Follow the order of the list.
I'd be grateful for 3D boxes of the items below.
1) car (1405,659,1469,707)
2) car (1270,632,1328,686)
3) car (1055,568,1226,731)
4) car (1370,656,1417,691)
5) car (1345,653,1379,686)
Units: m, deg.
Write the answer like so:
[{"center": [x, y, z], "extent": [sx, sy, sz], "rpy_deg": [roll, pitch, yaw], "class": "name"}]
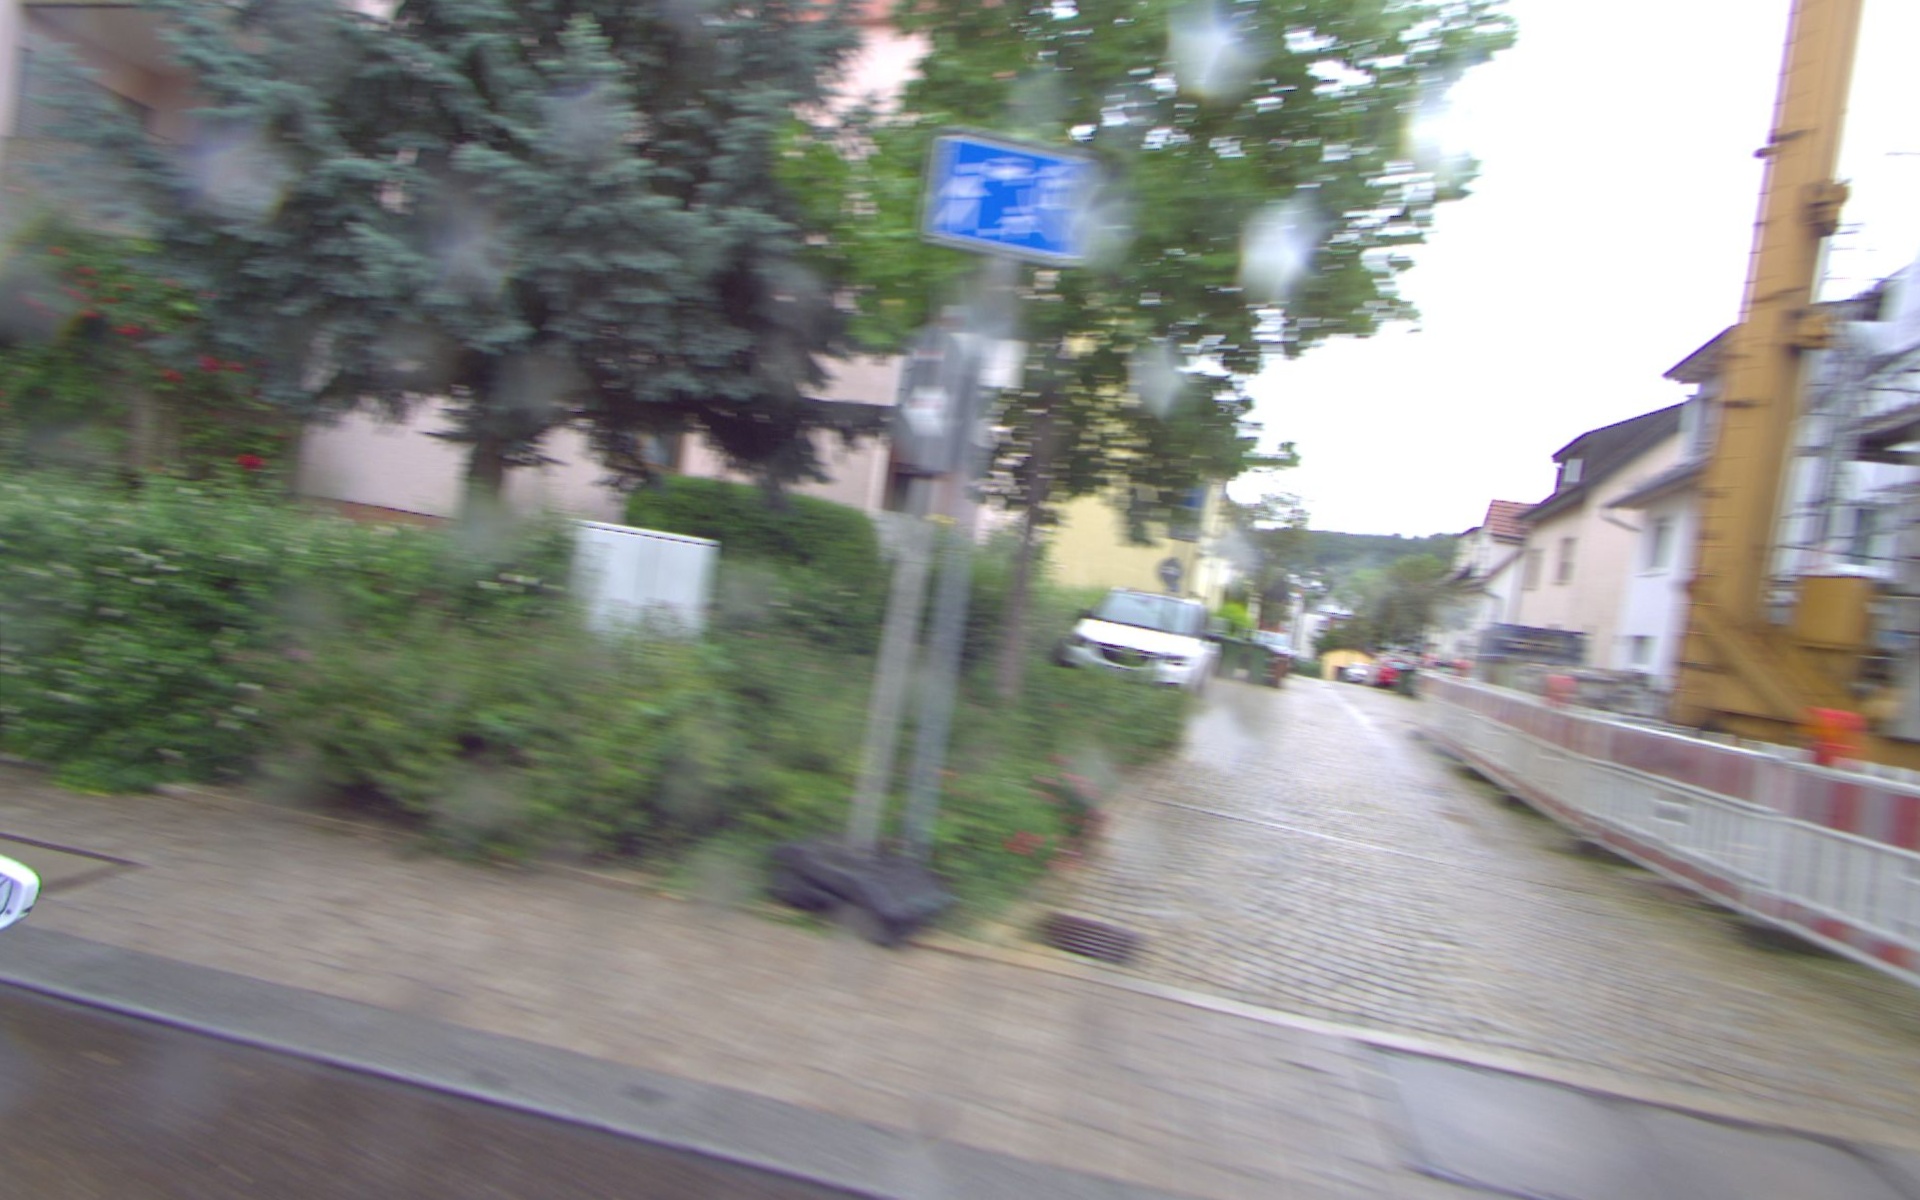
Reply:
[{"center": [16.306, 2.803, 34.526], "extent": [1.436, 1.305, 3.619], "rpy_deg": [7, 0, 19], "class": "car"}, {"center": [12.722, 2.165, 37.935], "extent": [1.707, 1.705, 4.000], "rpy_deg": [7, 0, 16], "class": "car"}, {"center": [2.632, 0.633, 13.933], "extent": [1.575, 1.699, 3.937], "rpy_deg": [10, 2, 18], "class": "car"}, {"center": [20.804, 3.482, 48.386], "extent": [1.575, 1.331, 3.938], "rpy_deg": [8, 1, 18], "class": "car"}, {"center": [26.365, 4.530, 66.097], "extent": [1.575, 1.699, 3.937], "rpy_deg": [10, 2, 18], "class": "car"}]
